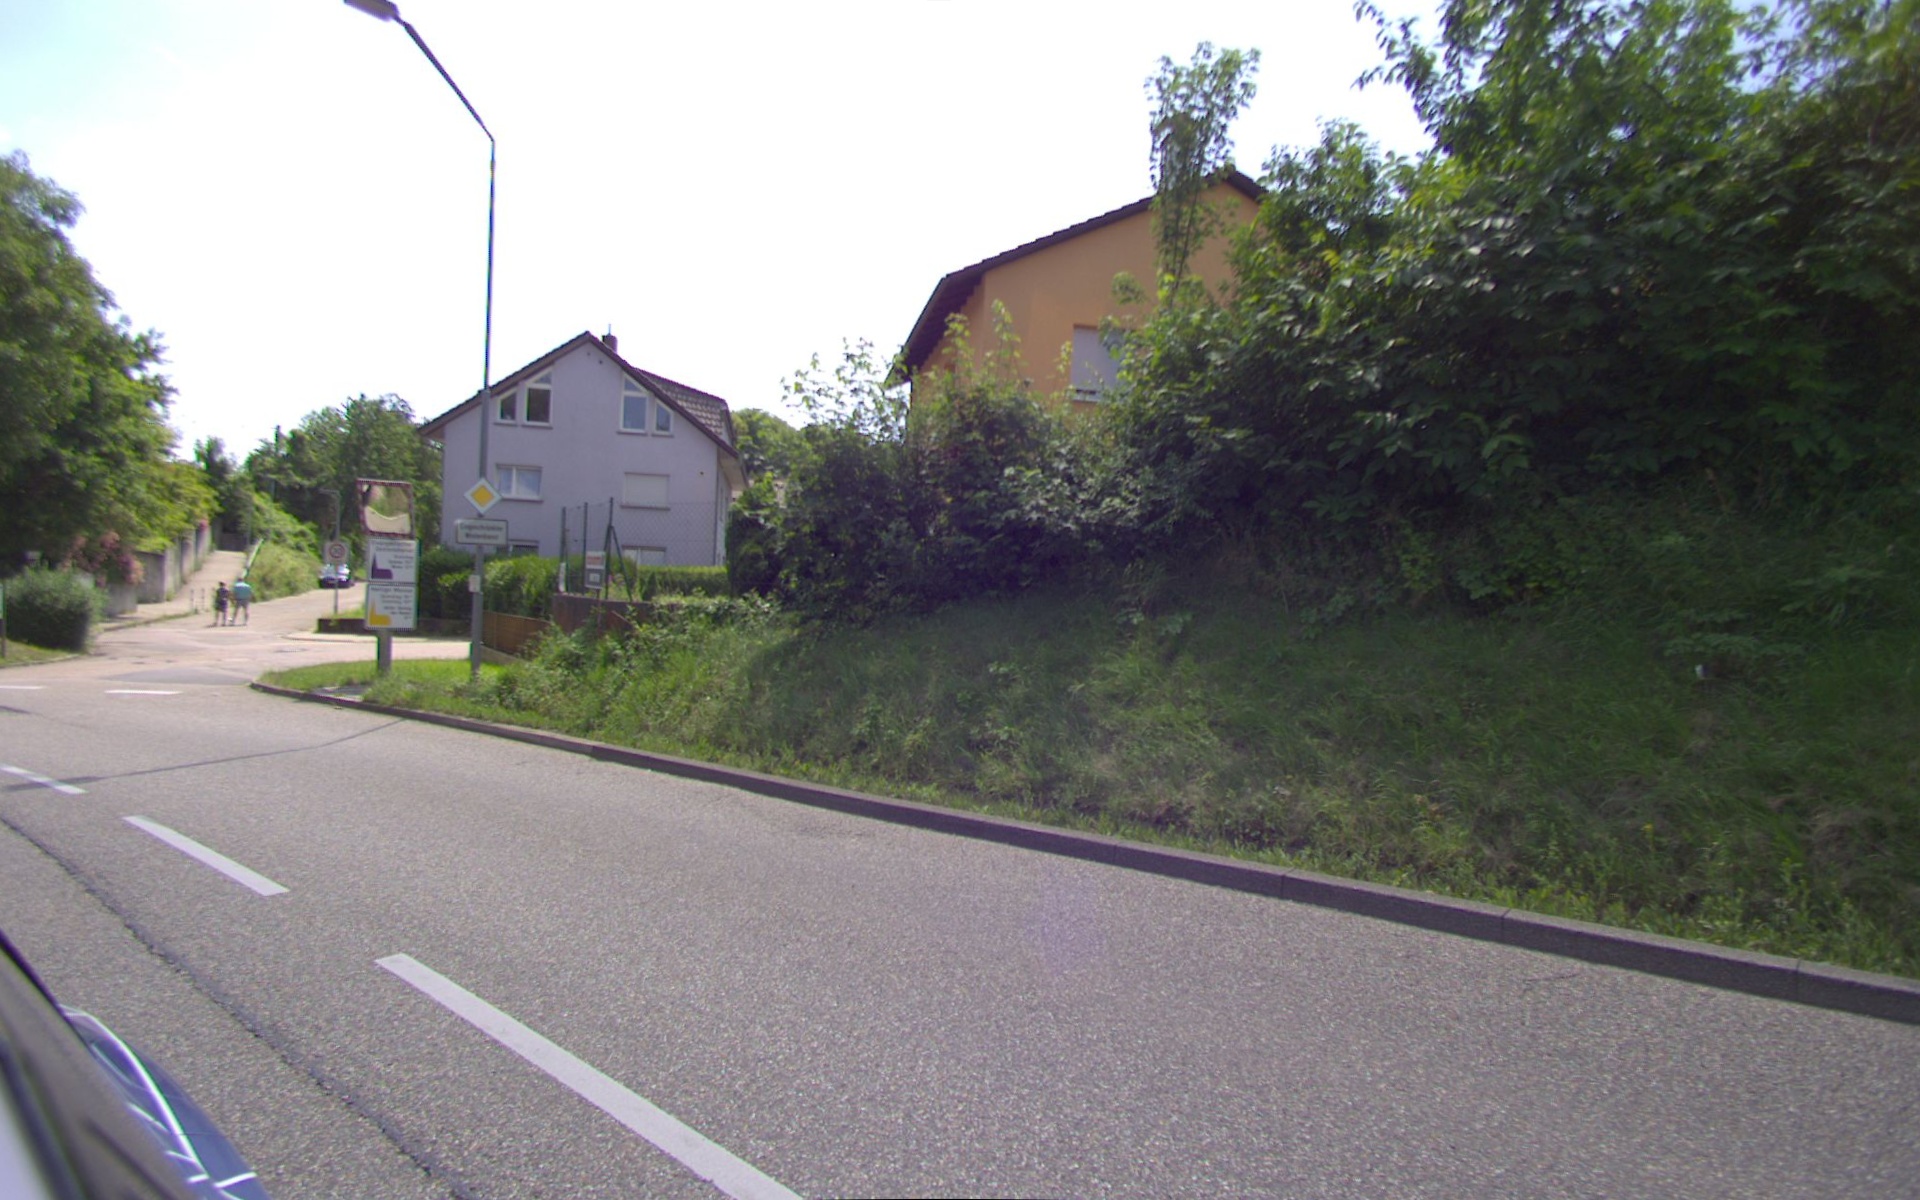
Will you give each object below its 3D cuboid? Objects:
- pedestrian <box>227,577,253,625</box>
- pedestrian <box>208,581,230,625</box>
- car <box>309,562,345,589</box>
[{"bbox_3d":[-26.404,0.015,37.139,0.676,1.725,0.792,-2,2,-32],"label":"pedestrian"},{"bbox_3d":[-26.682,0.096,36.445,0.564,1.566,0.601,-2,2,-32],"label":"pedestrian"},{"bbox_3d":[-41.050,-1.594,65.696,1.825,1.655,4.405,-2,1,-31],"label":"car"}]
